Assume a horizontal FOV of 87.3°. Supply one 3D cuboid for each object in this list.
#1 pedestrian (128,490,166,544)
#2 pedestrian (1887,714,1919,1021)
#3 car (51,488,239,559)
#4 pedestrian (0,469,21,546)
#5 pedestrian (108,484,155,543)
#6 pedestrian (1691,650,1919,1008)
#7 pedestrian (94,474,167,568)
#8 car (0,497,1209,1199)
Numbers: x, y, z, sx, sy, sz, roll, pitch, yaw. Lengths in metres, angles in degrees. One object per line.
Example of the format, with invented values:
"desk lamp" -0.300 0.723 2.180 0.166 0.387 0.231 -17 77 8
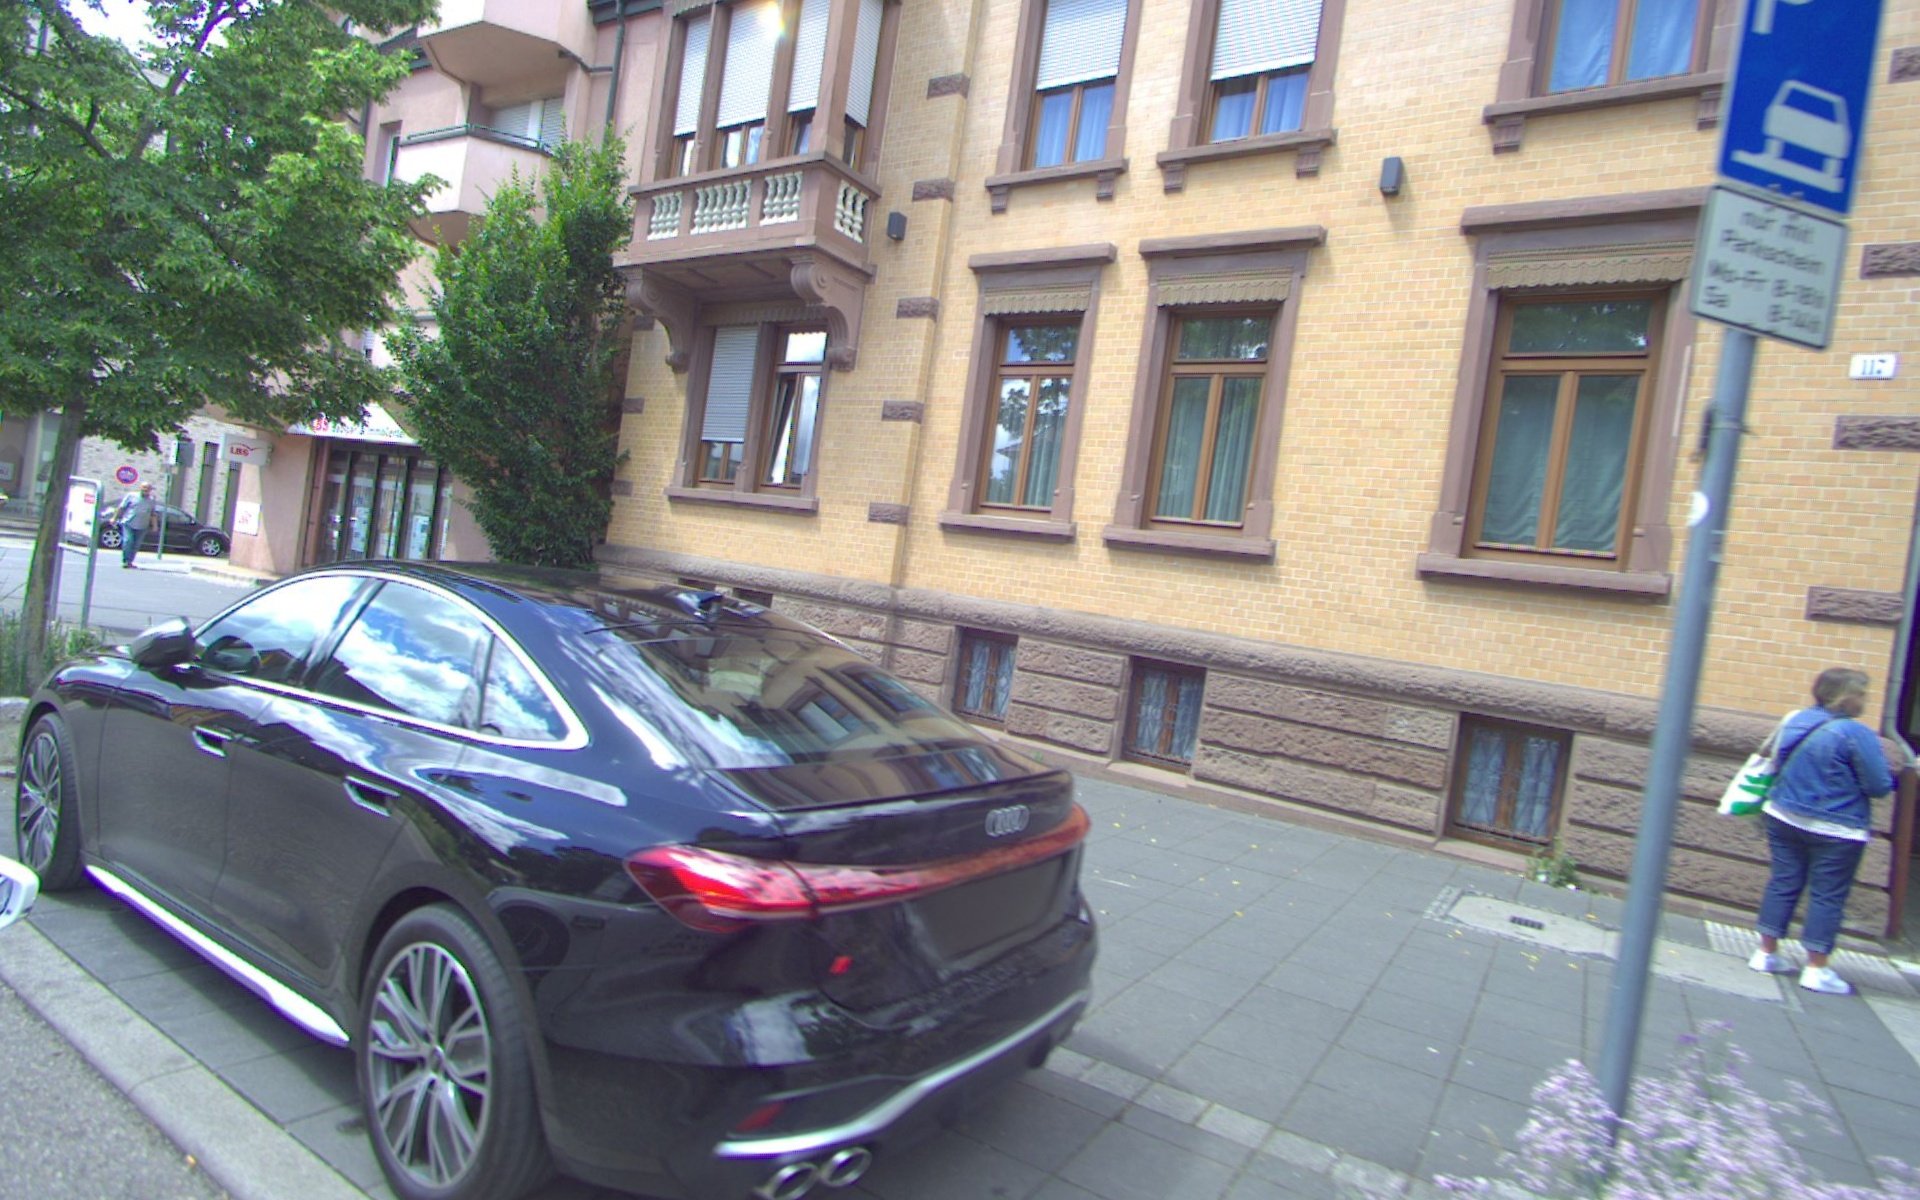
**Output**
"pedestrian" -25.998 -2.645 32.175 0.592 1.591 0.523 7 -1 0
"pedestrian" 5.001 1.194 4.778 0.731 1.677 0.694 6 -1 45
"car" -24.078 -2.220 29.871 1.752 1.495 3.901 8 1 26
"pedestrian" -21.245 -2.050 21.915 0.736 1.660 0.922 6 3 -19
"pedestrian" -25.977 -2.692 31.538 0.801 1.690 0.555 7 -1 0
"pedestrian" 4.464 1.149 5.262 0.733 1.659 0.670 8 -1 -31
"pedestrian" -16.265 -1.537 19.738 0.928 1.706 0.717 7 1 30
"car" -1.724 0.590 3.793 4.660 1.431 1.995 7 0 34
